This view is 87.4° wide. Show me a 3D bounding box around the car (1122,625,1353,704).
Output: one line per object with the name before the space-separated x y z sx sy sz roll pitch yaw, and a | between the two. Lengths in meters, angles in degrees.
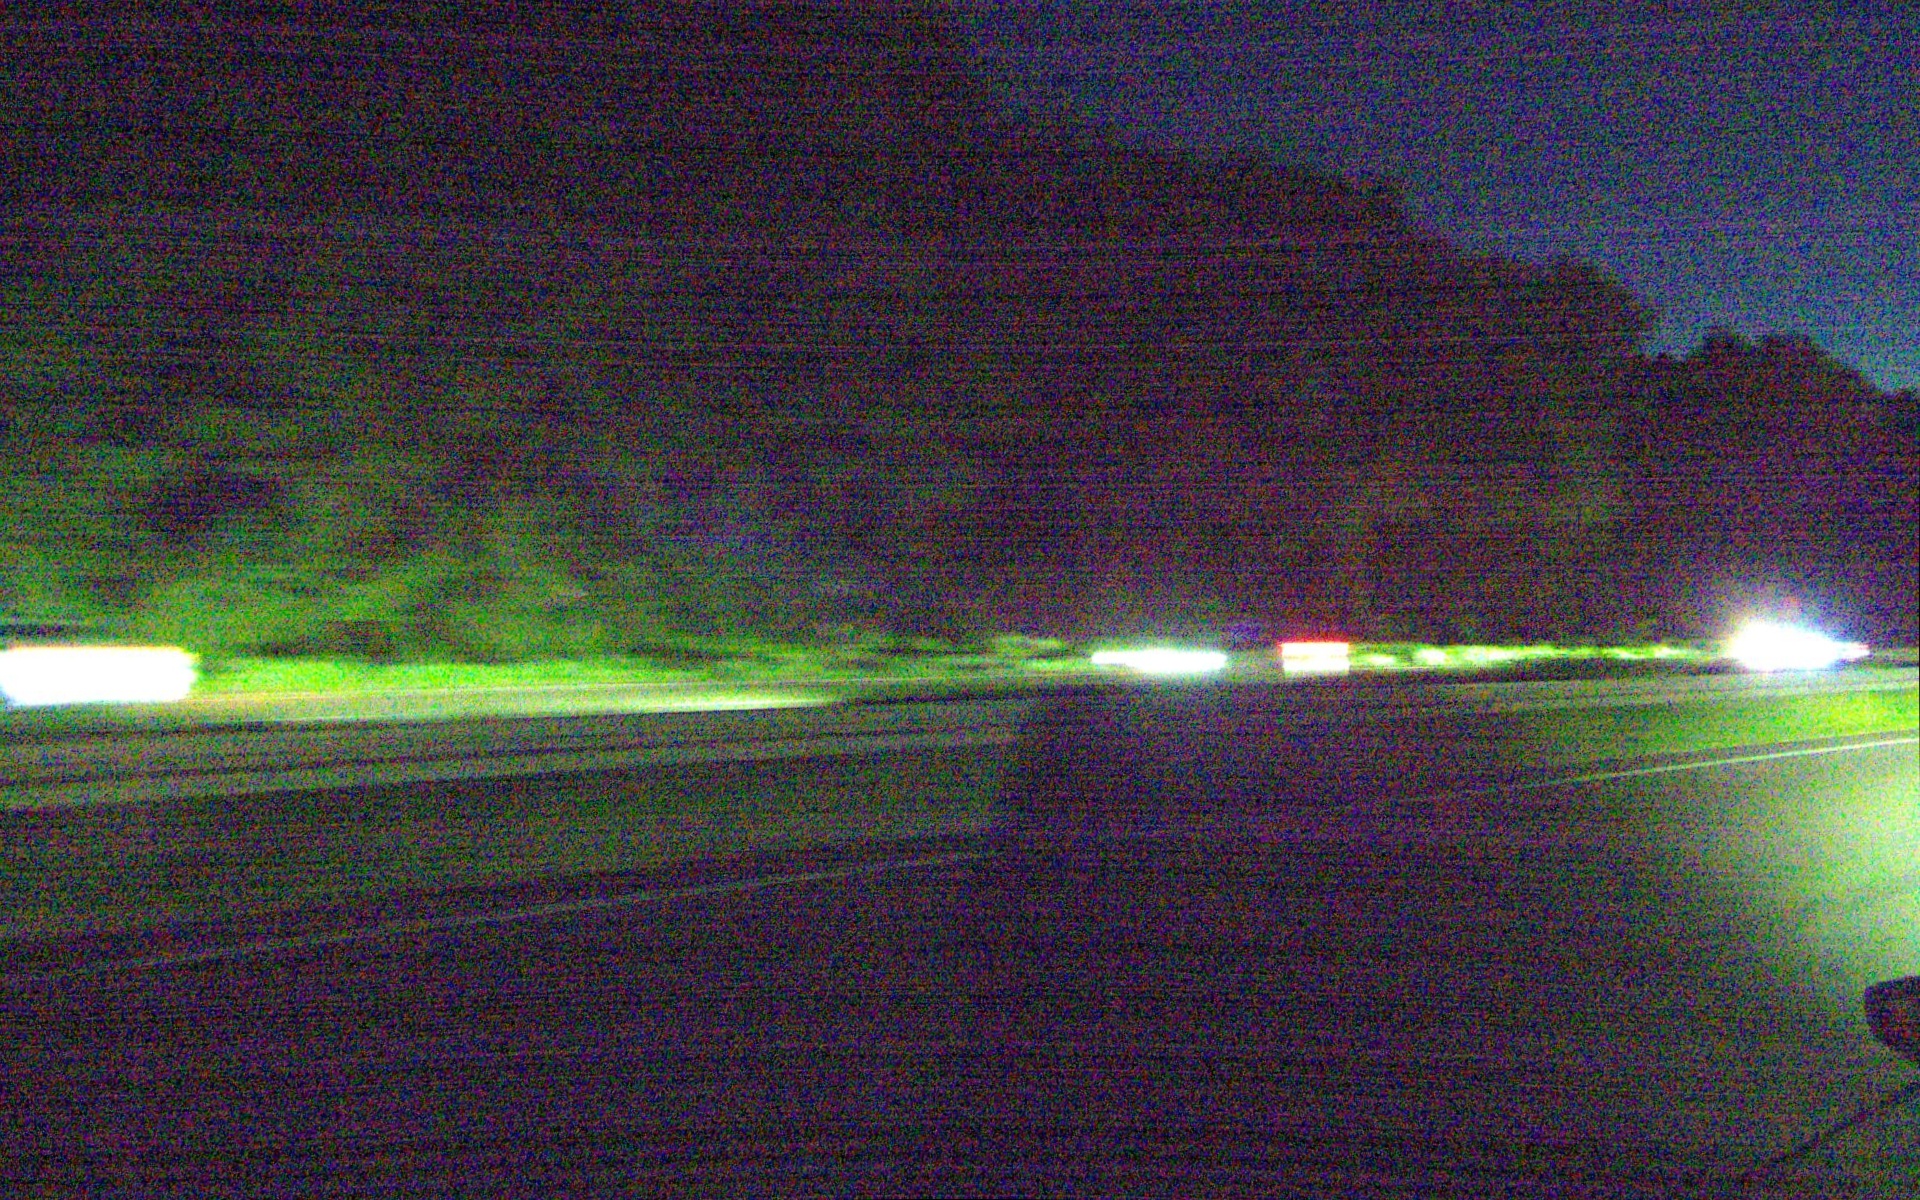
car | 5.676 1.261 20.510 4.413 1.476 1.951 1 -2 -27

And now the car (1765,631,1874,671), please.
car | 34.187 2.021 39.918 4.786 1.430 1.763 2 0 -30

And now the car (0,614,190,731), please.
car | -13.048 0.936 13.362 4.116 1.476 1.951 1 -2 -27
